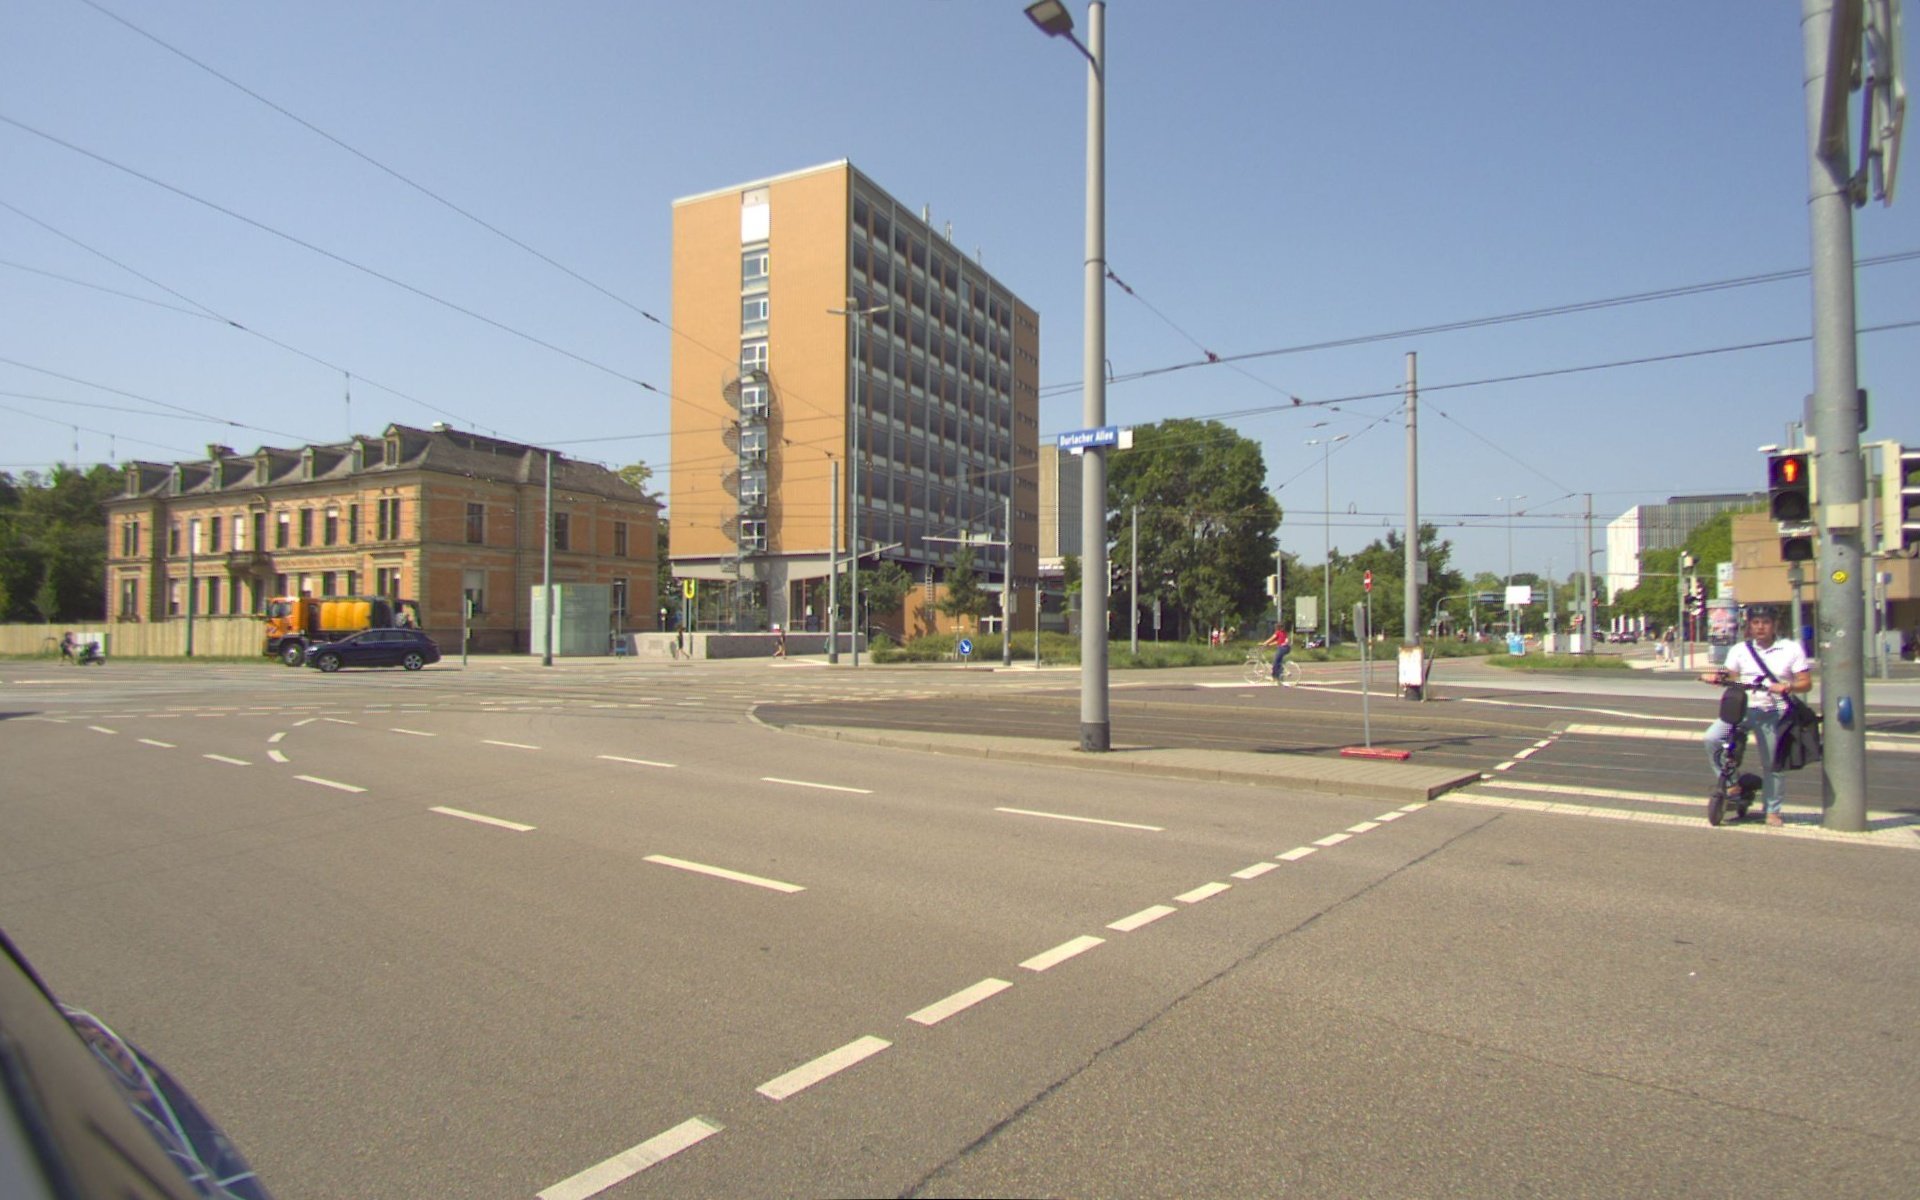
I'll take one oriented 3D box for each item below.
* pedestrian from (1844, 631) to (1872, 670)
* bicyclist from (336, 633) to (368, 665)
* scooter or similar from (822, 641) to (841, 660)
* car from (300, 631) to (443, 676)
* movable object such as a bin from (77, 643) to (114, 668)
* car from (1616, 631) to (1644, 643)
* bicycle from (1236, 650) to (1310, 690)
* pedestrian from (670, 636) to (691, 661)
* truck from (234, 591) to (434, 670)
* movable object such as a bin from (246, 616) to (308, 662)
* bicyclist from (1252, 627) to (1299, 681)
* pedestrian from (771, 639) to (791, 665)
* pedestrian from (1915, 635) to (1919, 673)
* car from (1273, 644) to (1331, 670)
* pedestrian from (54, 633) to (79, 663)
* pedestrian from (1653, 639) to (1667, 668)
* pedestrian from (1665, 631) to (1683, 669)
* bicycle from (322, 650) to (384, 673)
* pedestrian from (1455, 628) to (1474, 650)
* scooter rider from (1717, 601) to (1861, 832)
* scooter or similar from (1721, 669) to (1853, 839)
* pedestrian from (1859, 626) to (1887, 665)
[{"bbox_3d":[39.610,2.242,44.641,0.578,1.689,0.579,-1,-3,-5],"label":"pedestrian"},{"bbox_3d":[-24.897,1.986,41.446,1.087,1.276,0.859,1,-3,-30],"label":"bicyclist"},{"bbox_3d":[-8.073,3.143,63.582,1.127,1.166,0.444,2,-3,-37],"label":"scooter or similar"},{"bbox_3d":[-22.542,2.020,38.904,4.619,1.653,2.006,1,-2,-31],"label":"car"},{"bbox_3d":[-40.211,2.580,47.100,1.021,1.093,0.822,-1,-3,-10],"label":"movable object such as a bin"},{"bbox_3d":[88.249,4.878,133.303,4.584,1.665,1.905,2,-3,-41],"label":"car"},{"bbox_3d":[8.819,1.962,28.599,1.913,1.077,0.606,-2,-3,43],"label":"bicycle"},{"bbox_3d":[-15.392,2.661,55.732,0.786,1.405,0.837,-2,-3,41],"label":"pedestrian"},{"bbox_3d":[-27.869,1.412,45.332,7.089,3.254,3.042,-1,-3,0],"label":"truck"},{"bbox_3d":[-41.129,2.355,60.942,4.449,2.692,1.795,-2,-3,38],"label":"movable object such as a bin"},{"bbox_3d":[8.893,1.514,28.547,0.980,1.470,0.865,-2,-3,43],"label":"bicyclist"},{"bbox_3d":[-10.138,2.936,57.285,0.786,1.405,0.837,-2,-3,41],"label":"pedestrian"},{"bbox_3d":[41.495,2.308,43.479,0.571,1.658,0.505,-4,-4,41],"label":"pedestrian"},{"bbox_3d":[25.400,4.257,75.190,3.932,1.807,2.005,0,-4,-32],"label":"car"},{"bbox_3d":[-41.079,2.206,46.544,0.804,1.362,0.720,2,-3,-44],"label":"pedestrian"},{"bbox_3d":[33.750,2.586,48.804,0.459,1.385,0.346,-1,-3,28],"label":"pedestrian"},{"bbox_3d":[34.244,2.381,48.541,0.558,1.830,0.555,-1,-3,28],"label":"pedestrian"},{"bbox_3d":[-24.772,2.512,41.368,2.133,0.906,0.643,1,-2,-28],"label":"bicycle"},{"bbox_3d":[42.834,3.308,85.924,1.098,1.799,0.971,1,-3,-35],"label":"pedestrian"},{"bbox_3d":[6.492,0.872,7.972,0.777,1.686,0.764,-2,-3,35],"label":"scooter rider"},{"bbox_3d":[6.477,1.150,7.988,0.708,1.157,1.325,-2,-3,36],"label":"scooter or similar"},{"bbox_3d":[40.330,2.011,44.691,0.578,1.689,0.579,-1,-3,-5],"label":"pedestrian"}]
